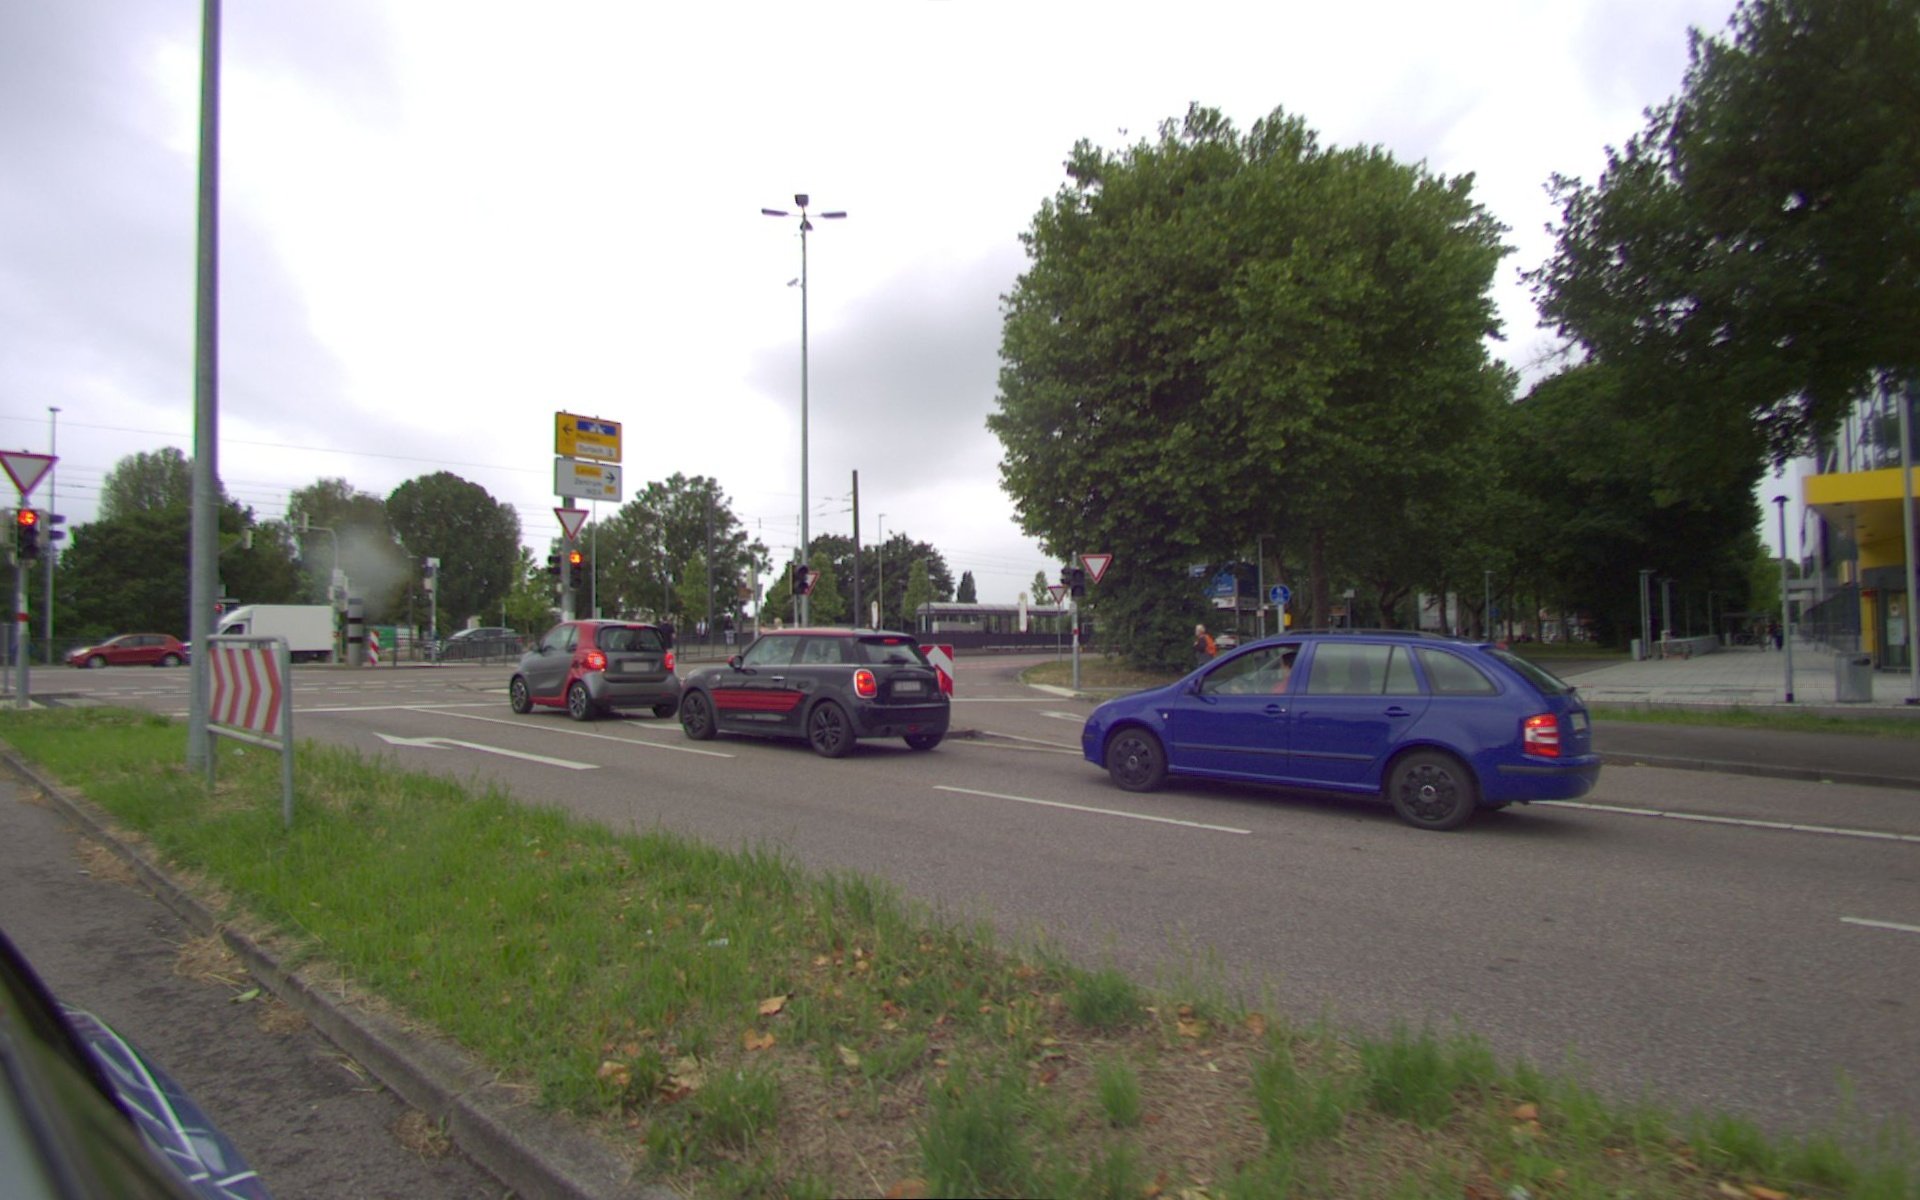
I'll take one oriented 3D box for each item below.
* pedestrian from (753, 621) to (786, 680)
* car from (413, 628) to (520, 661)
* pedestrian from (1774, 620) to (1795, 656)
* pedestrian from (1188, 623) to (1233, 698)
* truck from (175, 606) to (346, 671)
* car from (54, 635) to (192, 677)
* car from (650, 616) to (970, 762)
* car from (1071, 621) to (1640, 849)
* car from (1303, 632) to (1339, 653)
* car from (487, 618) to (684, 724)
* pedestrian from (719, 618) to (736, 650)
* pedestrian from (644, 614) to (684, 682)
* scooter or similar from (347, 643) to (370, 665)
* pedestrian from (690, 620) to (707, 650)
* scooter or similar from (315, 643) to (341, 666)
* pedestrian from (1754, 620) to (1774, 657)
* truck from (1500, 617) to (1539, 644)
[{"bbox_3d":[-5.721,1.510,30.415,0.666,1.725,0.766,1,-2,-45],"label":"pedestrian"},{"bbox_3d":[-23.569,2.104,48.478,1.676,1.419,4.313,-5,-4,40],"label":"car"},{"bbox_3d":[46.416,2.137,56.967,0.742,2.029,0.659,-5,-4,41],"label":"pedestrian"},{"bbox_3d":[5.687,1.351,22.965,0.808,1.655,0.627,0,-1,39],"label":"pedestrian"},{"bbox_3d":[-34.511,1.937,50.151,2.826,2.946,6.457,-4,-5,40],"label":"truck"},{"bbox_3d":[-35.571,2.371,43.113,1.780,1.664,4.198,-4,-4,35],"label":"car"},{"bbox_3d":[-1.960,0.997,12.481,4.063,1.514,1.644,-1,-4,41],"label":"car"},{"bbox_3d":[3.092,0.933,8.457,4.141,1.455,1.586,-1,-4,41],"label":"car"},{"bbox_3d":[30.164,3.554,84.416,1.794,1.597,4.093,1,-1,35],"label":"car"},{"bbox_3d":[-6.036,1.087,16.201,3.207,1.514,1.586,-2,-3,40],"label":"car"},{"bbox_3d":[-13.206,1.933,57.485,0.788,1.755,0.578,-5,-4,44],"label":"pedestrian"},{"bbox_3d":[-8.023,1.308,27.424,0.686,1.778,0.656,3,-2,39],"label":"pedestrian"},{"bbox_3d":[-34.438,3.087,57.937,1.031,1.224,0.376,-2,0,-43],"label":"scooter or similar"},{"bbox_3d":[-14.363,1.925,55.620,0.711,1.572,0.623,-5,-4,43],"label":"pedestrian"},{"bbox_3d":[-35.353,3.060,56.638,1.137,1.252,0.478,2,-3,-43],"label":"scooter or similar"},{"bbox_3d":[45.730,2.195,57.579,0.742,2.029,0.659,-5,-4,41],"label":"pedestrian"},{"bbox_3d":[81.288,4.424,146.999,3.259,3.691,9.766,0,-2,39],"label":"truck"}]
